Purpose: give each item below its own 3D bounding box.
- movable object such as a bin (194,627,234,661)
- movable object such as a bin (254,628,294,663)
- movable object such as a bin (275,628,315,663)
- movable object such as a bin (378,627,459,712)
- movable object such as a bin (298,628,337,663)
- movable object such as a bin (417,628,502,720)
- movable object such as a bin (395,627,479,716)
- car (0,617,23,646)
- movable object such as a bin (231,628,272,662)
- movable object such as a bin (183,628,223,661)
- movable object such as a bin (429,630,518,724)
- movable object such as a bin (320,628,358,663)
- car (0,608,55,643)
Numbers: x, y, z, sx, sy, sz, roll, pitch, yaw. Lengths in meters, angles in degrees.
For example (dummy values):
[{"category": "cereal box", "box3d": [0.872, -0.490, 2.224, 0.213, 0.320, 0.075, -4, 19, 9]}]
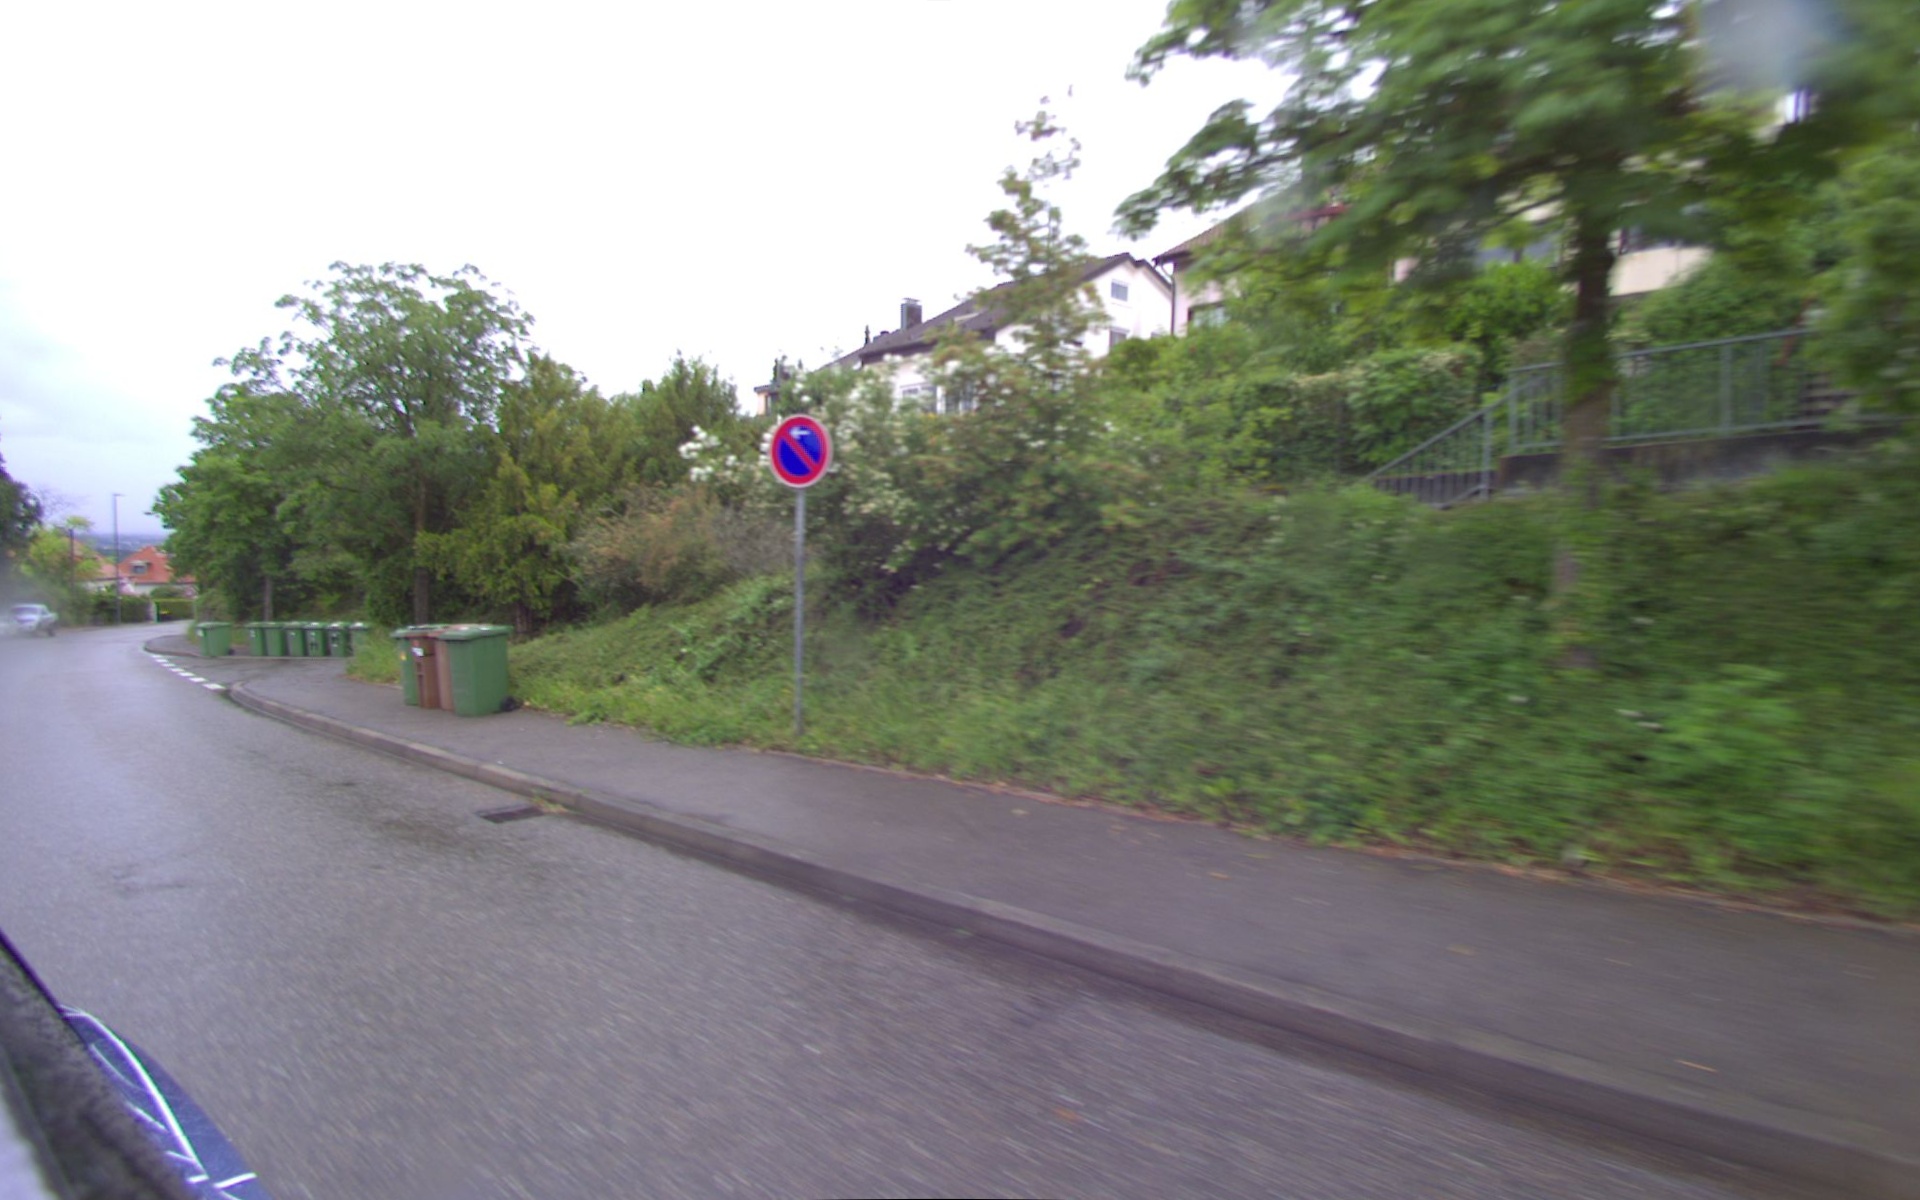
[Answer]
[{"category": "movable object such as a bin", "box3d": [-24.287, 1.412, 32.959, 0.715, 1.035, 0.774, -1, 2, 25]}, {"category": "movable object such as a bin", "box3d": [-22.139, 1.462, 32.654, 0.710, 1.035, 0.780, -2, 2, 2]}, {"category": "movable object such as a bin", "box3d": [-21.415, 1.454, 32.614, 0.710, 1.035, 0.780, -2, 2, 2]}, {"category": "movable object such as a bin", "box3d": [-7.407, 0.931, 13.846, 0.737, 1.105, 0.760, -1, -1, 40]}, {"category": "movable object such as a bin", "box3d": [-20.677, 1.465, 32.574, 0.710, 1.035, 0.780, -2, 2, 2]}, {"category": "movable object such as a bin", "box3d": [-6.332, 0.917, 12.805, 0.671, 1.105, 0.760, -1, -1, 40]}, {"category": "movable object such as a bin", "box3d": [-6.861, 0.909, 13.287, 0.737, 1.105, 0.760, -1, -1, 40]}, {"category": "car", "box3d": [-49.353, 1.603, 51.493, 1.725, 1.434, 4.011, 0, -1, -32]}, {"category": "movable object such as a bin", "box3d": [-22.875, 1.450, 32.688, 0.710, 1.035, 0.780, -2, 2, 2]}, {"category": "movable object such as a bin", "box3d": [-24.930, 1.465, 33.324, 0.715, 1.035, 0.774, -1, 2, 25]}, {"category": "movable object such as a bin", "box3d": [-5.891, 0.911, 12.253, 0.690, 1.076, 0.760, -1, -1, 40]}, {"category": "movable object such as a bin", "box3d": [-19.956, 1.460, 32.527, 0.710, 1.035, 0.780, -2, 2, 2]}, {"category": "car", "box3d": [-52.257, 1.385, 56.397, 1.839, 1.832, 4.876, 0, -1, -31]}]
